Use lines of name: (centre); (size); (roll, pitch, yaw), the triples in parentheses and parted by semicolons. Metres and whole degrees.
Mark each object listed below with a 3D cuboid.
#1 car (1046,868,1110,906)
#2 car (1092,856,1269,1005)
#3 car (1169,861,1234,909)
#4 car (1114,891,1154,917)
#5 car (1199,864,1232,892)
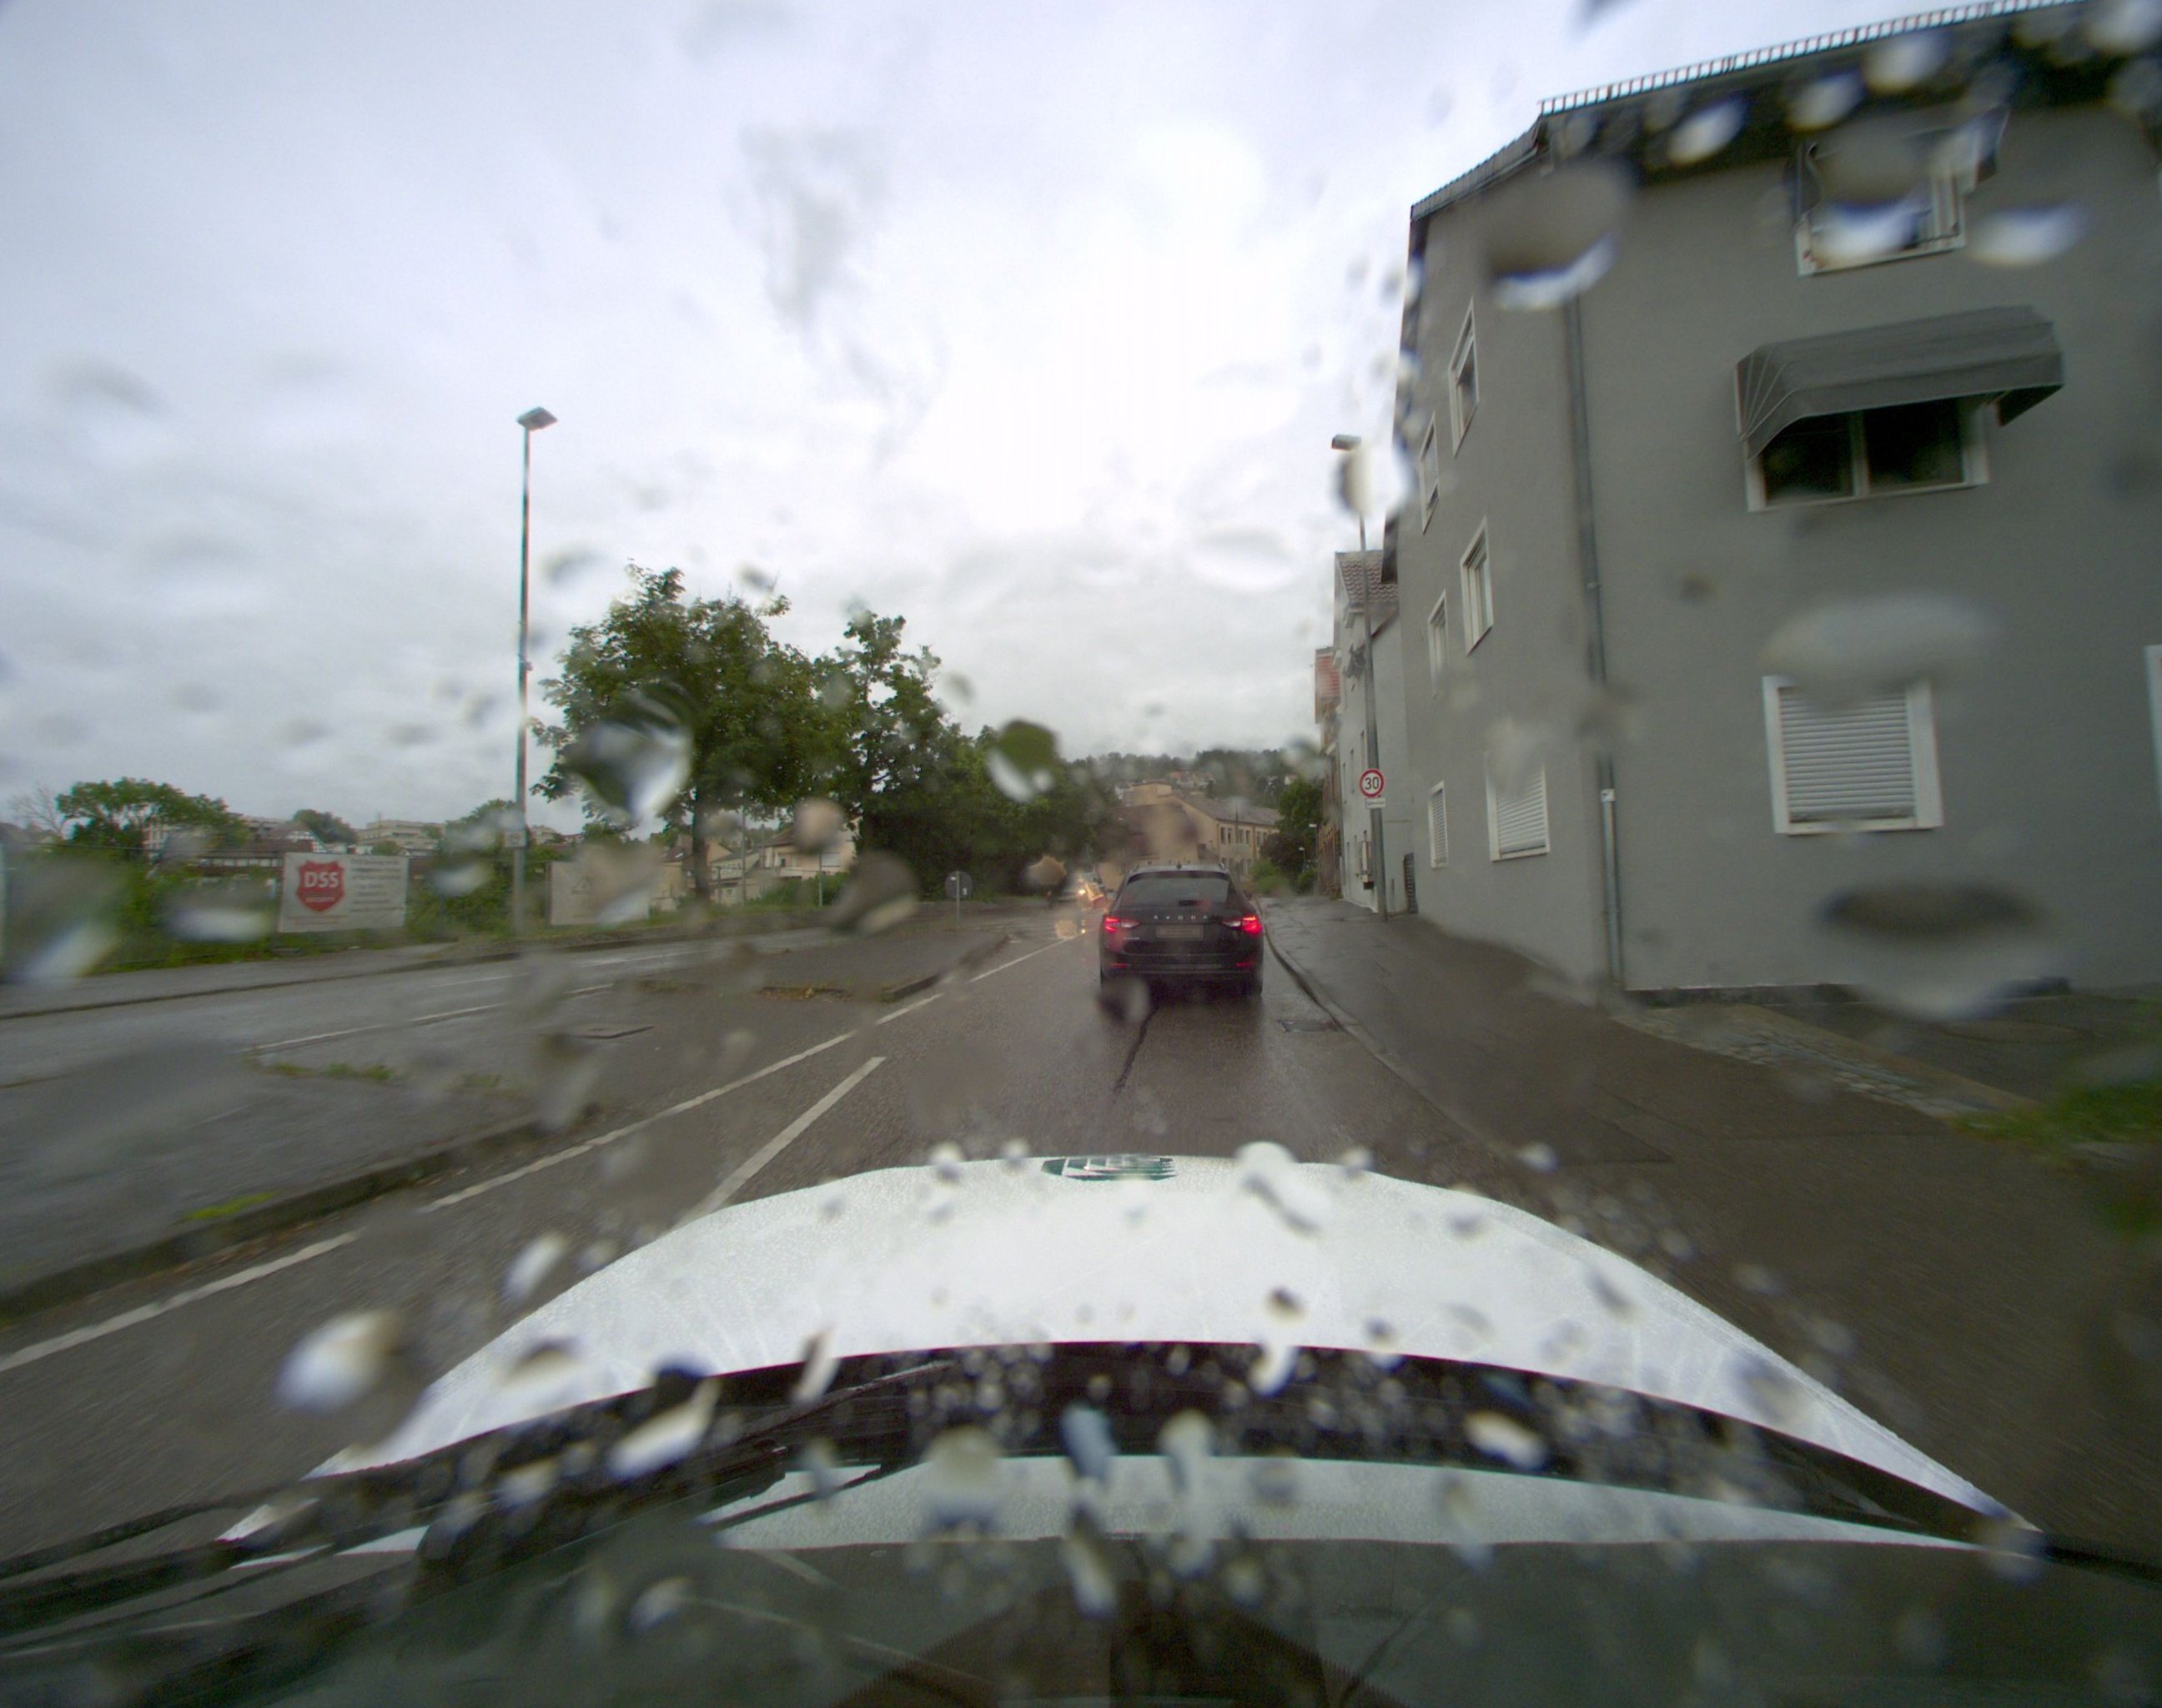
car: (-0.070, 1.414, 35.300); (1.631, 1.552, 4.172); (-1, -2, 16)
car: (1.190, 0.784, 10.366); (1.773, 1.483, 4.251); (0, 0, 5)
car: (3.891, 1.024, 25.806); (1.806, 1.360, 4.000); (-2, -4, 11)
car: (3.427, 3.157, 52.017); (1.627, 1.521, 4.088); (-2, -2, 18)
car: (7.127, 1.227, 42.942); (1.642, 1.387, 3.930); (-1, 0, 10)
